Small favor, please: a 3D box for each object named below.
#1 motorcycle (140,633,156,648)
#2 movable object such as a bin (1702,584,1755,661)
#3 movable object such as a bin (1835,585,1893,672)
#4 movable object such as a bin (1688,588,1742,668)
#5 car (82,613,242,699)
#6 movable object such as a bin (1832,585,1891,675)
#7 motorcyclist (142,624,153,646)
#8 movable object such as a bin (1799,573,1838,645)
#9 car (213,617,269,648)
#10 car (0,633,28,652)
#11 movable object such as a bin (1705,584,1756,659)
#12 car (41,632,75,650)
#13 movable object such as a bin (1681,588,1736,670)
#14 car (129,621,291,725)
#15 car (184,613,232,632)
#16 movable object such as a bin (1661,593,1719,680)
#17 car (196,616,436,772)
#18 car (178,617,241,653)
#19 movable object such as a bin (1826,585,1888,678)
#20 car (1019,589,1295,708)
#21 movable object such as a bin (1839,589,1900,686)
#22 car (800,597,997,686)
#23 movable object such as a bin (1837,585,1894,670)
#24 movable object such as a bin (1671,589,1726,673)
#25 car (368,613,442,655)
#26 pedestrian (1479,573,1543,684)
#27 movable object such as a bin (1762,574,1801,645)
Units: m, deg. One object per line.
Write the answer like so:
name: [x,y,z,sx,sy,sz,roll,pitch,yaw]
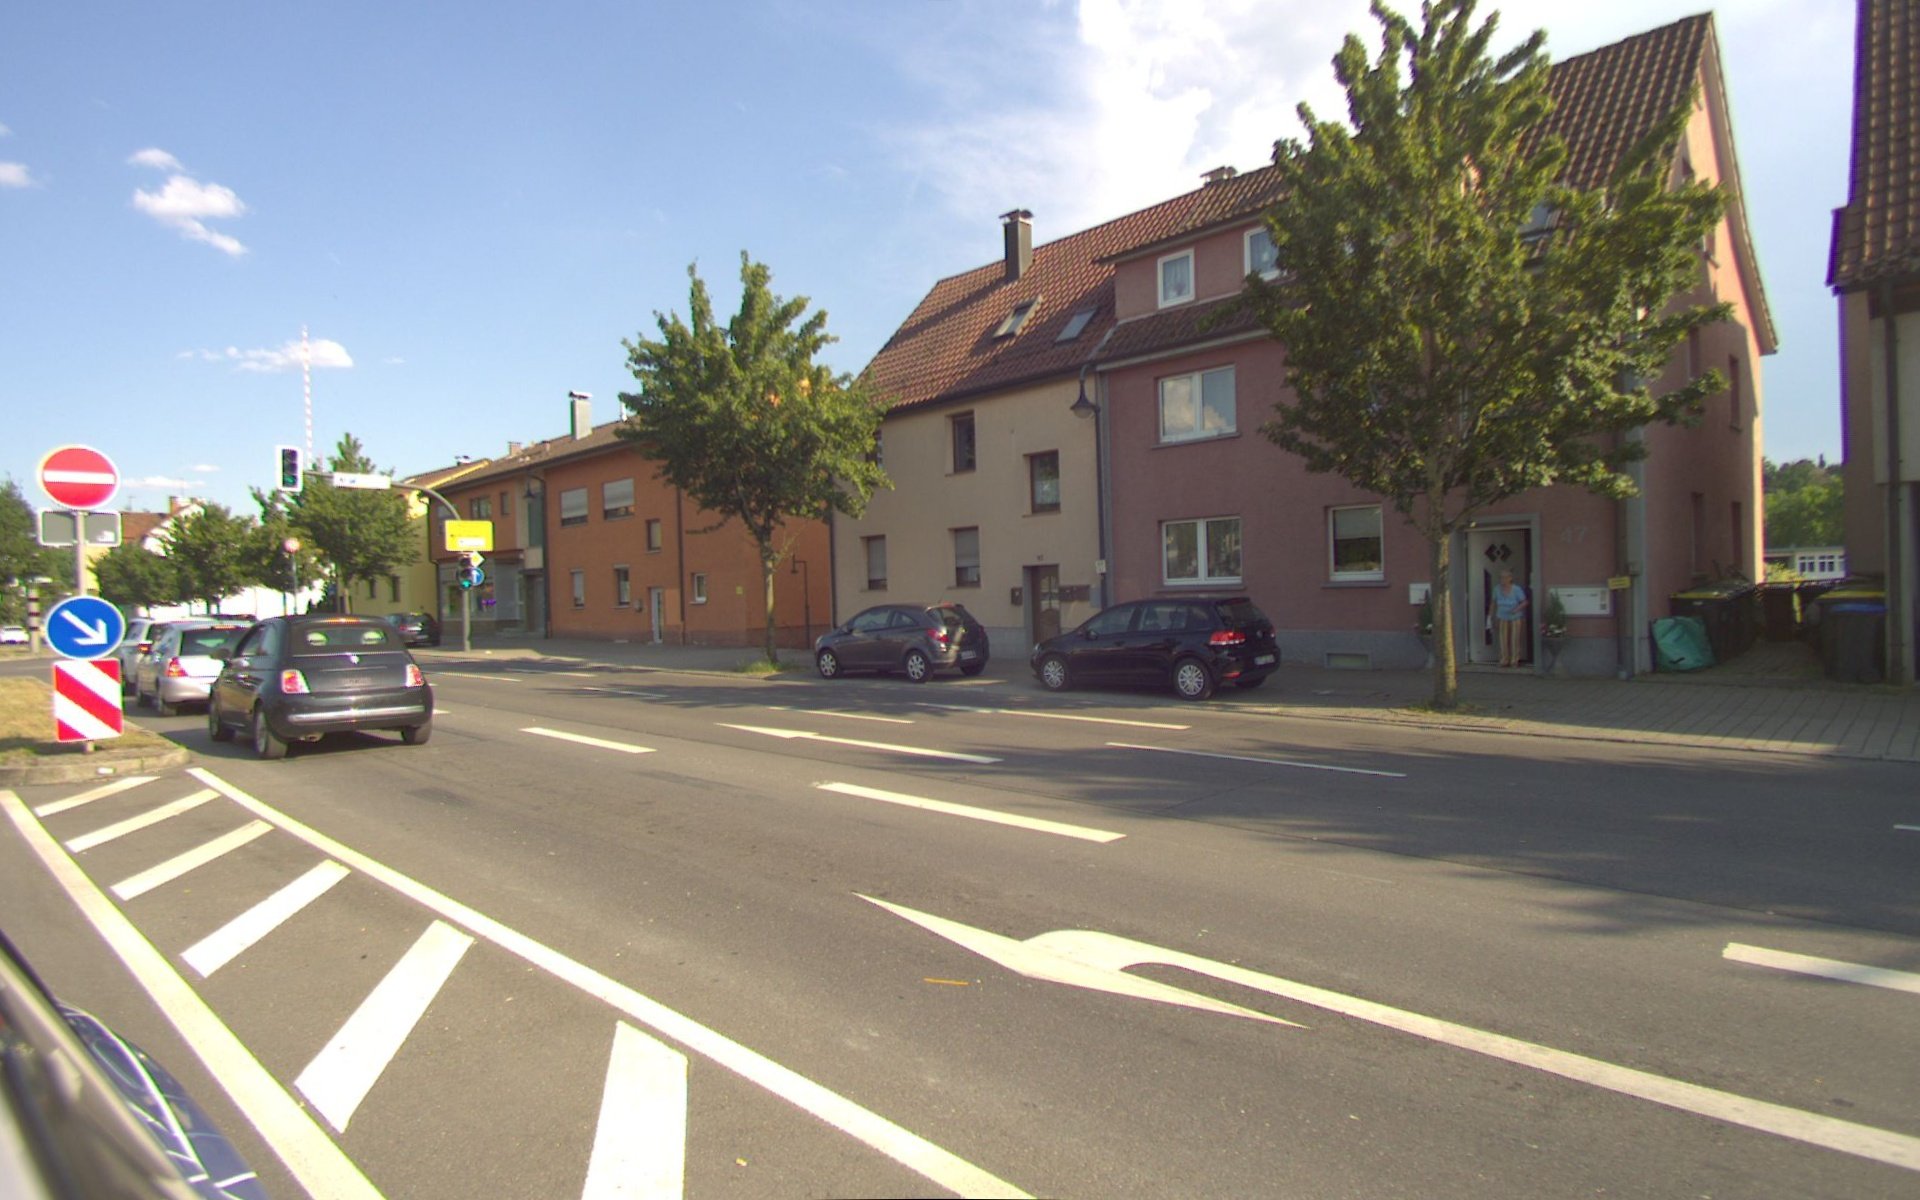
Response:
motorcycle: [-47.449,2.385,59.109,1.762,0.867,0.408,-2,-1,41]
movable object such as a bin: [11.743,0.338,15.470,0.498,1.151,0.546,-1,-1,-45]
movable object such as a bin: [12.139,0.377,13.596,0.540,1.146,0.504,-2,-1,43]
movable object such as a bin: [11.235,0.412,15.063,0.498,1.151,0.546,-1,-1,-45]
car: [-16.091,1.076,20.325,4.565,1.500,1.815,-2,-1,42]
movable object such as a bin: [11.756,0.383,13.200,0.540,1.146,0.504,-2,-1,43]
motorcyclist: [-47.469,2.041,59.119,0.461,1.238,0.399,-2,-1,40]
movable object such as a bin: [14.035,0.146,16.538,0.444,1.151,0.397,-2,-1,42]
car: [-40.777,1.837,57.374,4.462,1.607,1.834,-2,-1,45]
car: [-74.800,3.323,79.705,3.999,1.422,1.738,-2,-1,42]
movable object such as a bin: [12.072,0.334,15.864,0.498,1.151,0.546,-1,-1,-45]
car: [-76.278,3.437,85.547,3.999,1.422,1.738,-2,-1,42]
movable object such as a bin: [10.858,0.418,14.679,0.498,1.151,0.546,-1,-1,-45]
car: [-12.010,1.072,16.129,1.571,1.438,3.580,0,-1,-45]
car: [-69.113,2.090,93.079,1.836,1.638,3.409,0,-2,1]
movable object such as a bin: [10.025,0.491,13.894,0.544,1.151,0.530,-1,-1,-45]
car: [-7.424,0.965,11.547,3.506,1.473,1.515,-2,-1,44]
car: [-36.702,1.704,49.482,4.412,1.624,1.667,-2,-1,42]
movable object such as a bin: [11.283,0.390,12.732,0.540,1.146,0.504,-2,-1,43]
car: [2.928,0.688,15.645,1.646,1.543,3.906,-4,2,-44]
movable object such as a bin: [10.965,0.445,12.204,0.500,1.146,0.470,-2,-1,43]
car: [-1.280,0.789,19.775,3.884,1.522,1.496,-2,1,42]
movable object such as a bin: [12.497,0.372,13.970,0.540,1.146,0.504,-2,-1,43]
movable object such as a bin: [10.412,0.429,14.274,0.498,1.151,0.530,-1,-1,-45]
car: [-22.226,1.358,40.446,1.574,1.449,3.778,-7,3,-44]
pedestrian: [8.295,0.418,15.269,0.774,1.619,0.716,-1,-1,26]
movable object such as a bin: [13.703,0.158,16.882,0.444,1.151,0.397,-2,-1,42]
